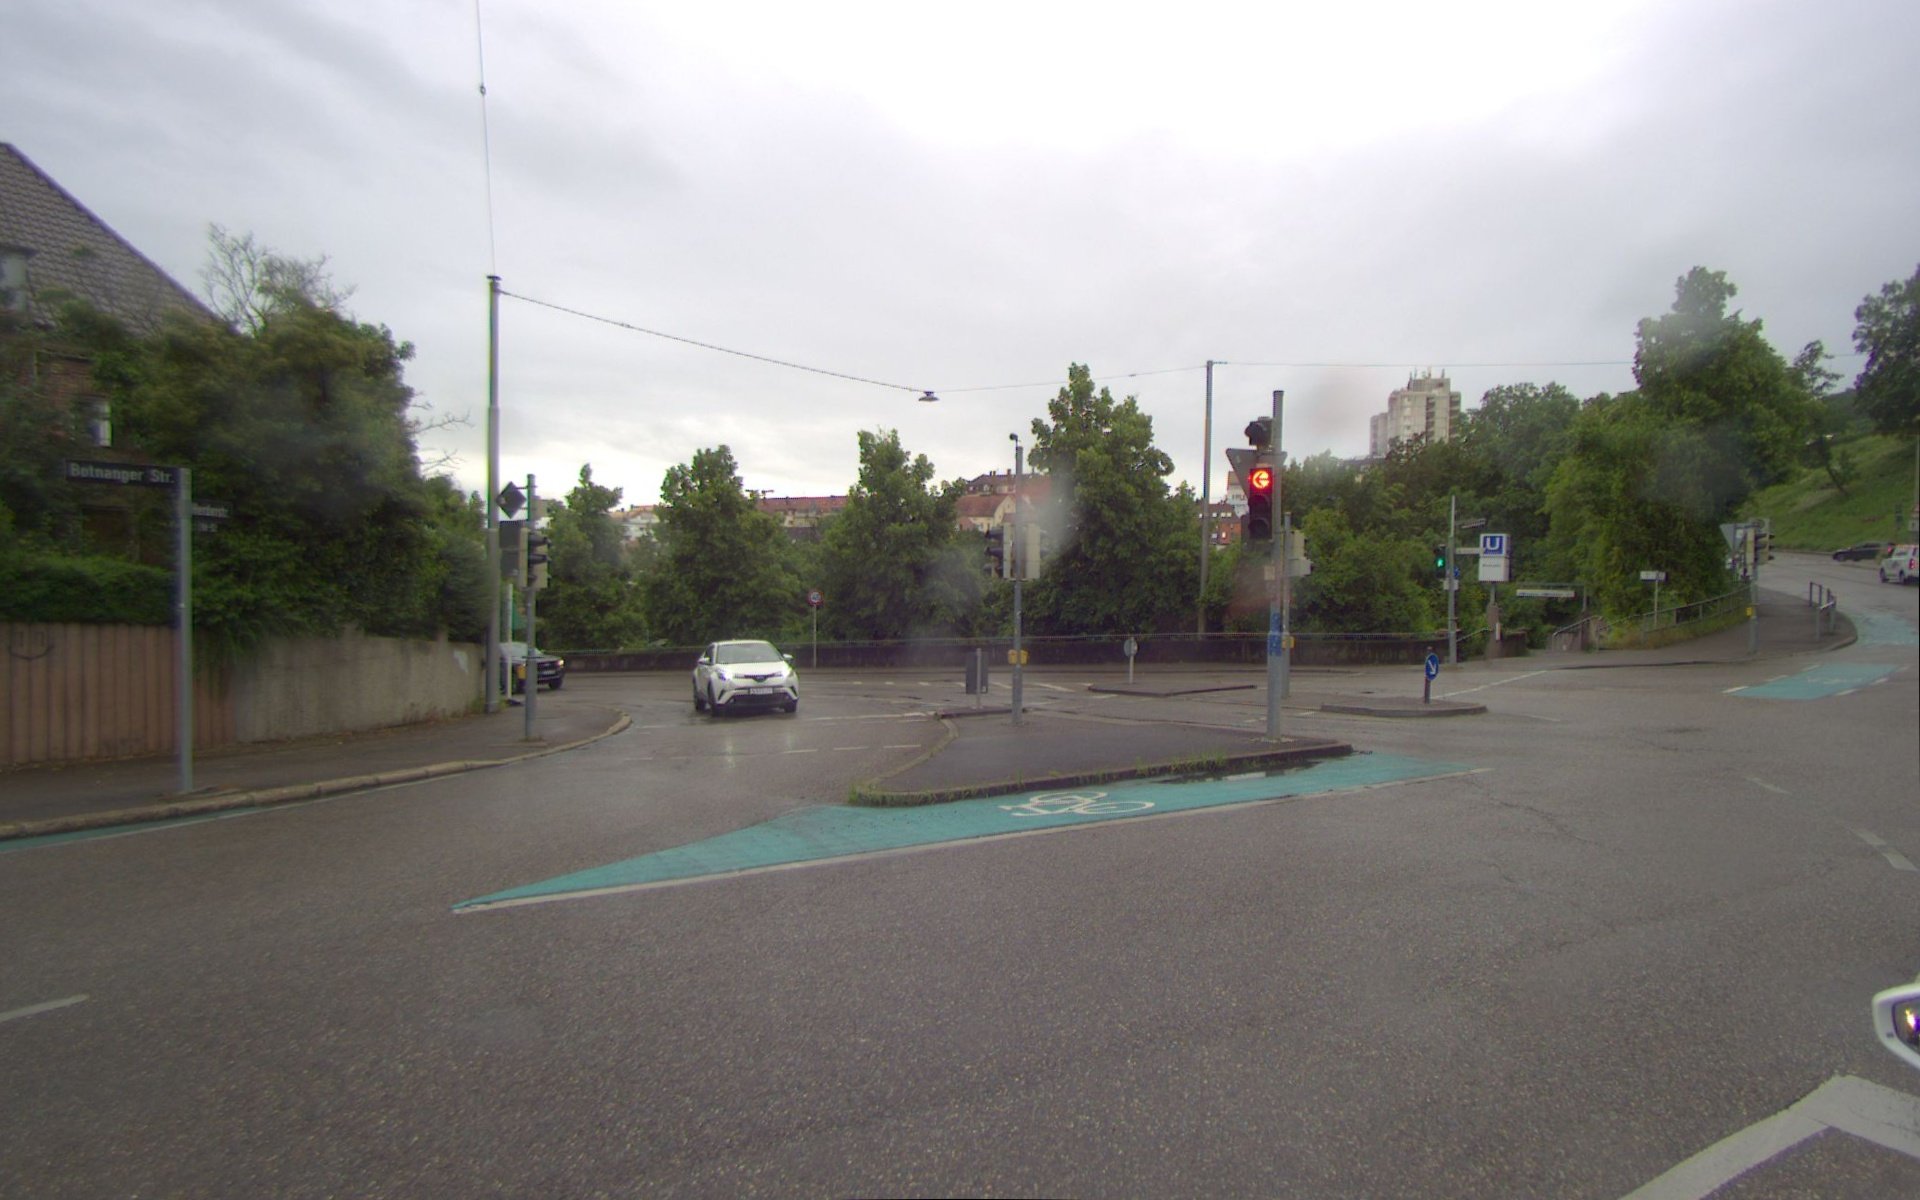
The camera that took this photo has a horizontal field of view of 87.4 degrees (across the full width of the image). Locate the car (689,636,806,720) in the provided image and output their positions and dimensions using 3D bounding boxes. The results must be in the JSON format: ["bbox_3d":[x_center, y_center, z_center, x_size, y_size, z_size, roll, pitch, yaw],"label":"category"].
[{"bbox_3d":[-4.650,1.634,21.592,1.810,1.527,3.866,-2,-2,-21],"label":"car"}]

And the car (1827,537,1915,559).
[{"bbox_3d":[66.823,-3.809,73.761,1.930,1.532,4.389,-1,2,-16],"label":"car"}]

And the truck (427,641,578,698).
[{"bbox_3d":[-16.962,2.564,37.302,4.889,1.809,1.910,-4,-2,12],"label":"truck"}]

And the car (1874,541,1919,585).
[{"bbox_3d":[47.781,-1.815,50.287,2.036,2.033,4.804,1,1,30],"label":"car"}]
